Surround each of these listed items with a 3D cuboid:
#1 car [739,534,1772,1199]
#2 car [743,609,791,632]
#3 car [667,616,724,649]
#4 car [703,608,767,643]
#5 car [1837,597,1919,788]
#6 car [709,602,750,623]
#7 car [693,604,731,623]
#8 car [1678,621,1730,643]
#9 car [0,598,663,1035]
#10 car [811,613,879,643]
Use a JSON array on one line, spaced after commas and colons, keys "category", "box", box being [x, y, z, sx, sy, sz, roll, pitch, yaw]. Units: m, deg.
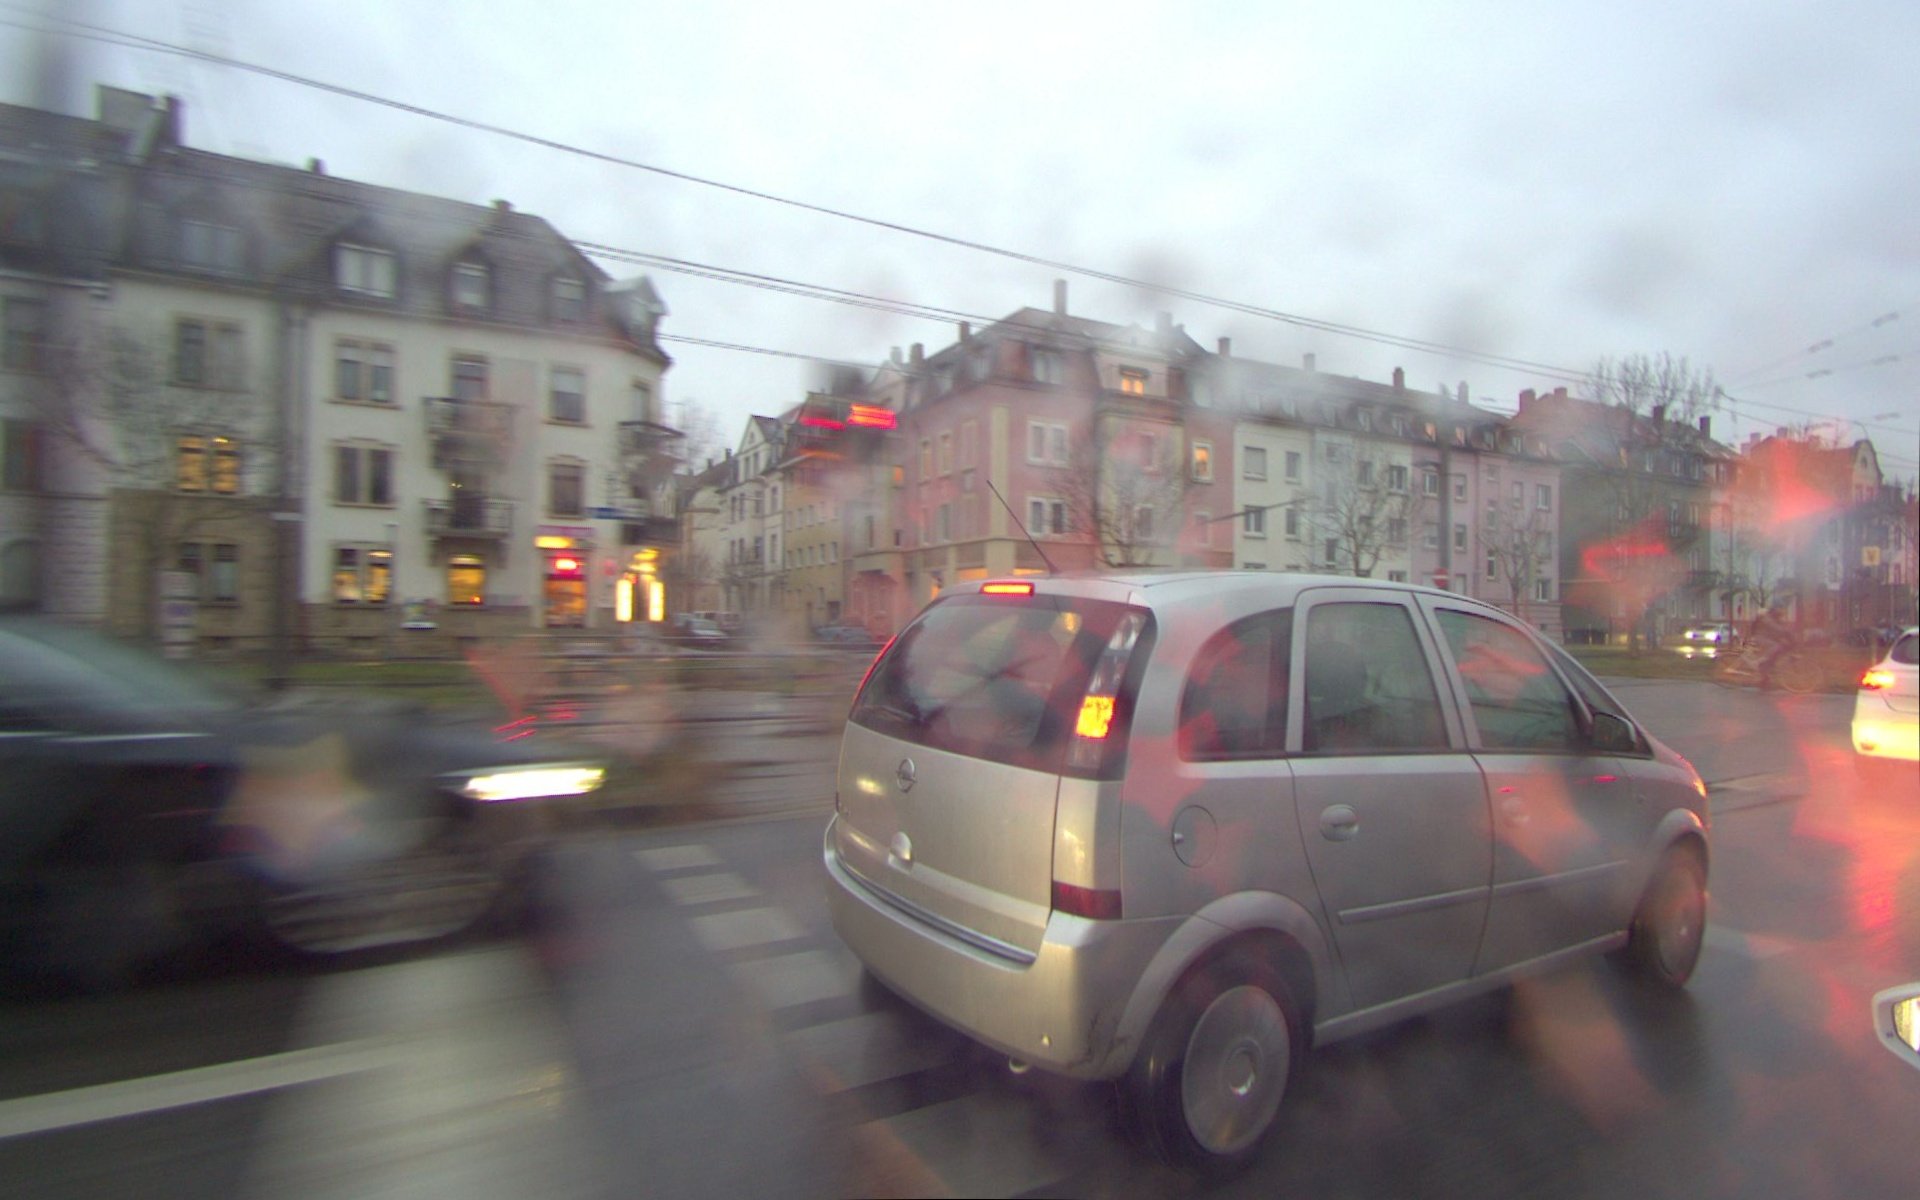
[{"category": "car", "box": [1.366, 0.701, 4.008, 4.011, 1.621, 1.798, 1, 0, -34]}, {"category": "car", "box": [-12.921, 1.387, 67.097, 1.976, 1.439, 3.970, 1, -1, -29]}, {"category": "car", "box": [-12.873, 1.556, 48.799, 1.773, 1.506, 3.970, 1, -1, -29]}, {"category": "car", "box": [-10.032, 1.117, 44.593, 1.773, 1.506, 3.970, 1, -1, -29]}, {"category": "car", "box": [10.000, 0.833, 9.351, 4.008, 1.621, 1.663, 1, 0, -32]}, {"category": "car", "box": [-16.999, 0.901, 73.974, 1.975, 1.439, 3.970, 1, -1, -28]}, {"category": "car", "box": [-19.573, 1.063, 79.199, 1.975, 1.439, 3.970, 1, -1, -28]}, {"category": "car", "box": [53.203, 2.272, 71.834, 3.514, 1.520, 1.768, 1, -1, -30]}, {"category": "car", "box": [-3.840, 0.729, 4.060, 4.771, 1.449, 1.800, 1, 0, -31]}, {"category": "car", "box": [-6.069, 1.462, 52.801, 1.979, 1.439, 3.963, 1, -1, -33]}]
